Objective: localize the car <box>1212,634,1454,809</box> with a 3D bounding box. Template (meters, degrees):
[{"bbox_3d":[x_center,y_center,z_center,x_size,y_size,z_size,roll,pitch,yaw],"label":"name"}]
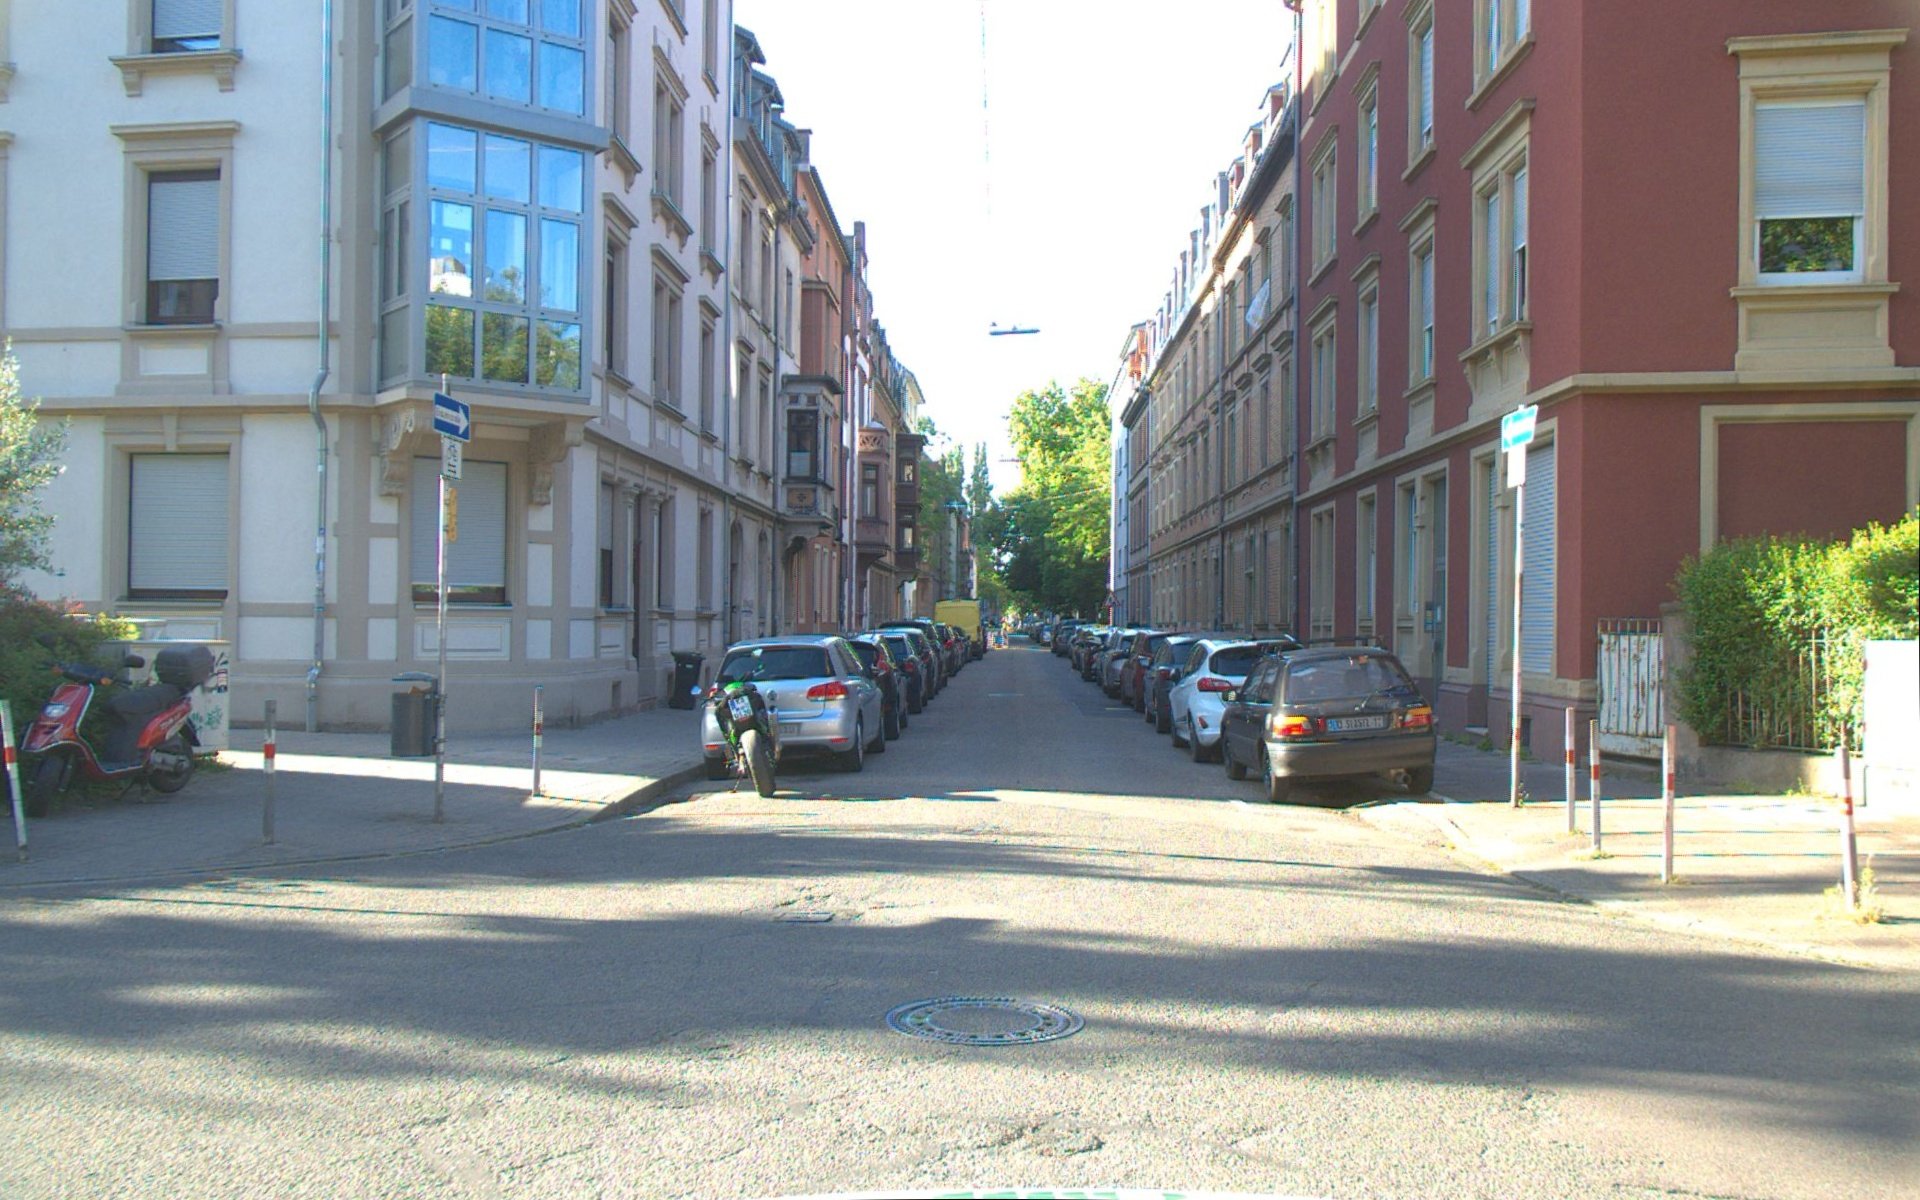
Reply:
[{"bbox_3d":[3.615,1.120,16.622,1.634,1.509,3.706,1,-1,1],"label":"car"}]

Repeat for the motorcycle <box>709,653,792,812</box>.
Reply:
[{"bbox_3d":[-1.983,1.225,15.858,0.663,1.357,1.998,-2,-1,-5],"label":"motorcycle"}]

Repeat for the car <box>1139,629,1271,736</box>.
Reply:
[{"bbox_3d":[3.841,1.254,26.468,1.642,1.529,4.070,1,0,2],"label":"car"}]

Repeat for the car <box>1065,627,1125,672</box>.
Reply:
[{"bbox_3d":[4.744,1.729,58.632,1.718,1.471,4.068,-3,-1,0],"label":"car"}]

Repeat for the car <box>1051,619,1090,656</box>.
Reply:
[{"bbox_3d":[5.689,1.905,85.560,1.717,1.817,4.724,-2,-1,1],"label":"car"}]

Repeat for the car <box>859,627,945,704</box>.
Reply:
[{"bbox_3d":[-1.192,1.343,35.278,1.609,1.481,3.839,-2,-1,1],"label":"car"}]

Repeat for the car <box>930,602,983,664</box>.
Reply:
[{"bbox_3d":[-0.100,1.426,72.284,2.130,2.552,5.878,-2,-1,1],"label":"car"}]

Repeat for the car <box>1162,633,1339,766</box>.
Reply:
[{"bbox_3d":[3.607,1.195,21.144,1.670,1.488,3.970,1,-1,2],"label":"car"}]

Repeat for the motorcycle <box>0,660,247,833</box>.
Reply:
[{"bbox_3d":[-6.577,1.084,12.884,0.599,1.218,2.044,0,-2,21],"label":"motorcycle"}]

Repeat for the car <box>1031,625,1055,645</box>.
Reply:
[{"bbox_3d":[7.065,2.977,140.928,1.855,1.654,4.000,1,-1,1],"label":"car"}]

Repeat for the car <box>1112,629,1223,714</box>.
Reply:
[{"bbox_3d":[3.953,1.339,32.080,1.625,1.505,4.024,0,-1,0],"label":"car"}]

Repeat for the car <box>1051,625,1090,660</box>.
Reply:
[{"bbox_3d":[5.336,2.041,80.126,1.717,1.478,4.289,-4,-1,3],"label":"car"}]

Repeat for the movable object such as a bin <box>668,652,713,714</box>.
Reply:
[{"bbox_3d":[-4.409,1.351,27.070,0.608,0.972,0.511,2,-1,1],"label":"movable object such as a bin"}]

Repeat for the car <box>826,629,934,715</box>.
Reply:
[{"bbox_3d":[-1.402,1.275,30.286,1.744,1.428,3.742,1,-1,0],"label":"car"}]

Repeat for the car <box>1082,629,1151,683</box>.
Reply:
[{"bbox_3d":[4.455,1.589,47.643,1.740,1.421,4.318,1,0,2],"label":"car"}]

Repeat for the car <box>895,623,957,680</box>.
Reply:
[{"bbox_3d":[-0.995,1.524,50.188,1.744,1.634,4.069,1,-1,0],"label":"car"}]

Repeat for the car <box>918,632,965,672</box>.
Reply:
[{"bbox_3d":[-0.643,1.880,60.885,1.584,1.350,3.612,-2,-1,1],"label":"car"}]

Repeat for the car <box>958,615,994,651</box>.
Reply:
[{"bbox_3d":[0.822,1.724,86.898,1.781,1.797,4.334,1,-1,-1],"label":"car"}]

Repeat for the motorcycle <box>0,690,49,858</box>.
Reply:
[{"bbox_3d":[-6.888,1.157,10.637,0.625,1.109,1.871,0,-2,17],"label":"motorcycle"}]

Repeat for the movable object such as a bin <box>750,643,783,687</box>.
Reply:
[{"bbox_3d":[-4.279,1.434,36.633,0.600,0.936,0.734,1,-1,1],"label":"movable object such as a bin"}]

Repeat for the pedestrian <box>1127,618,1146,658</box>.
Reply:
[{"bbox_3d":[7.439,1.602,69.802,0.640,1.659,0.880,-1,-2,-3],"label":"pedestrian"}]

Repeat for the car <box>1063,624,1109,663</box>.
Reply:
[{"bbox_3d":[5.620,1.925,74.228,1.718,1.544,4.443,-4,-1,1],"label":"car"}]

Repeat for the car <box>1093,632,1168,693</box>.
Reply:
[{"bbox_3d":[4.297,1.544,42.084,1.656,1.431,3.993,0,-1,2],"label":"car"}]

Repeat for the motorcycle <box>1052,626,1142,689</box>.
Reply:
[{"bbox_3d":[3.693,1.547,44.563,2.190,1.563,0.883,3,-1,-25],"label":"motorcycle"}]

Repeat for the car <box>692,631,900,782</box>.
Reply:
[{"bbox_3d":[-1.784,1.142,19.163,1.743,1.509,3.934,1,-1,4],"label":"car"}]

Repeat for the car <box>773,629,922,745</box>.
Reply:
[{"bbox_3d":[-1.552,1.192,24.042,1.744,1.509,3.743,1,-1,2],"label":"car"}]

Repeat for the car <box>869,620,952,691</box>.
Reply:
[{"bbox_3d":[-1.167,1.315,40.464,1.724,1.646,4.190,1,-1,2],"label":"car"}]

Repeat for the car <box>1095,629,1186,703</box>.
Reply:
[{"bbox_3d":[3.985,1.431,37.026,1.725,1.510,4.402,0,-1,2],"label":"car"}]

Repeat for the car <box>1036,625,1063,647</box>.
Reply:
[{"bbox_3d":[6.437,2.592,119.653,1.689,1.549,3.999,0,-1,-1],"label":"car"}]
